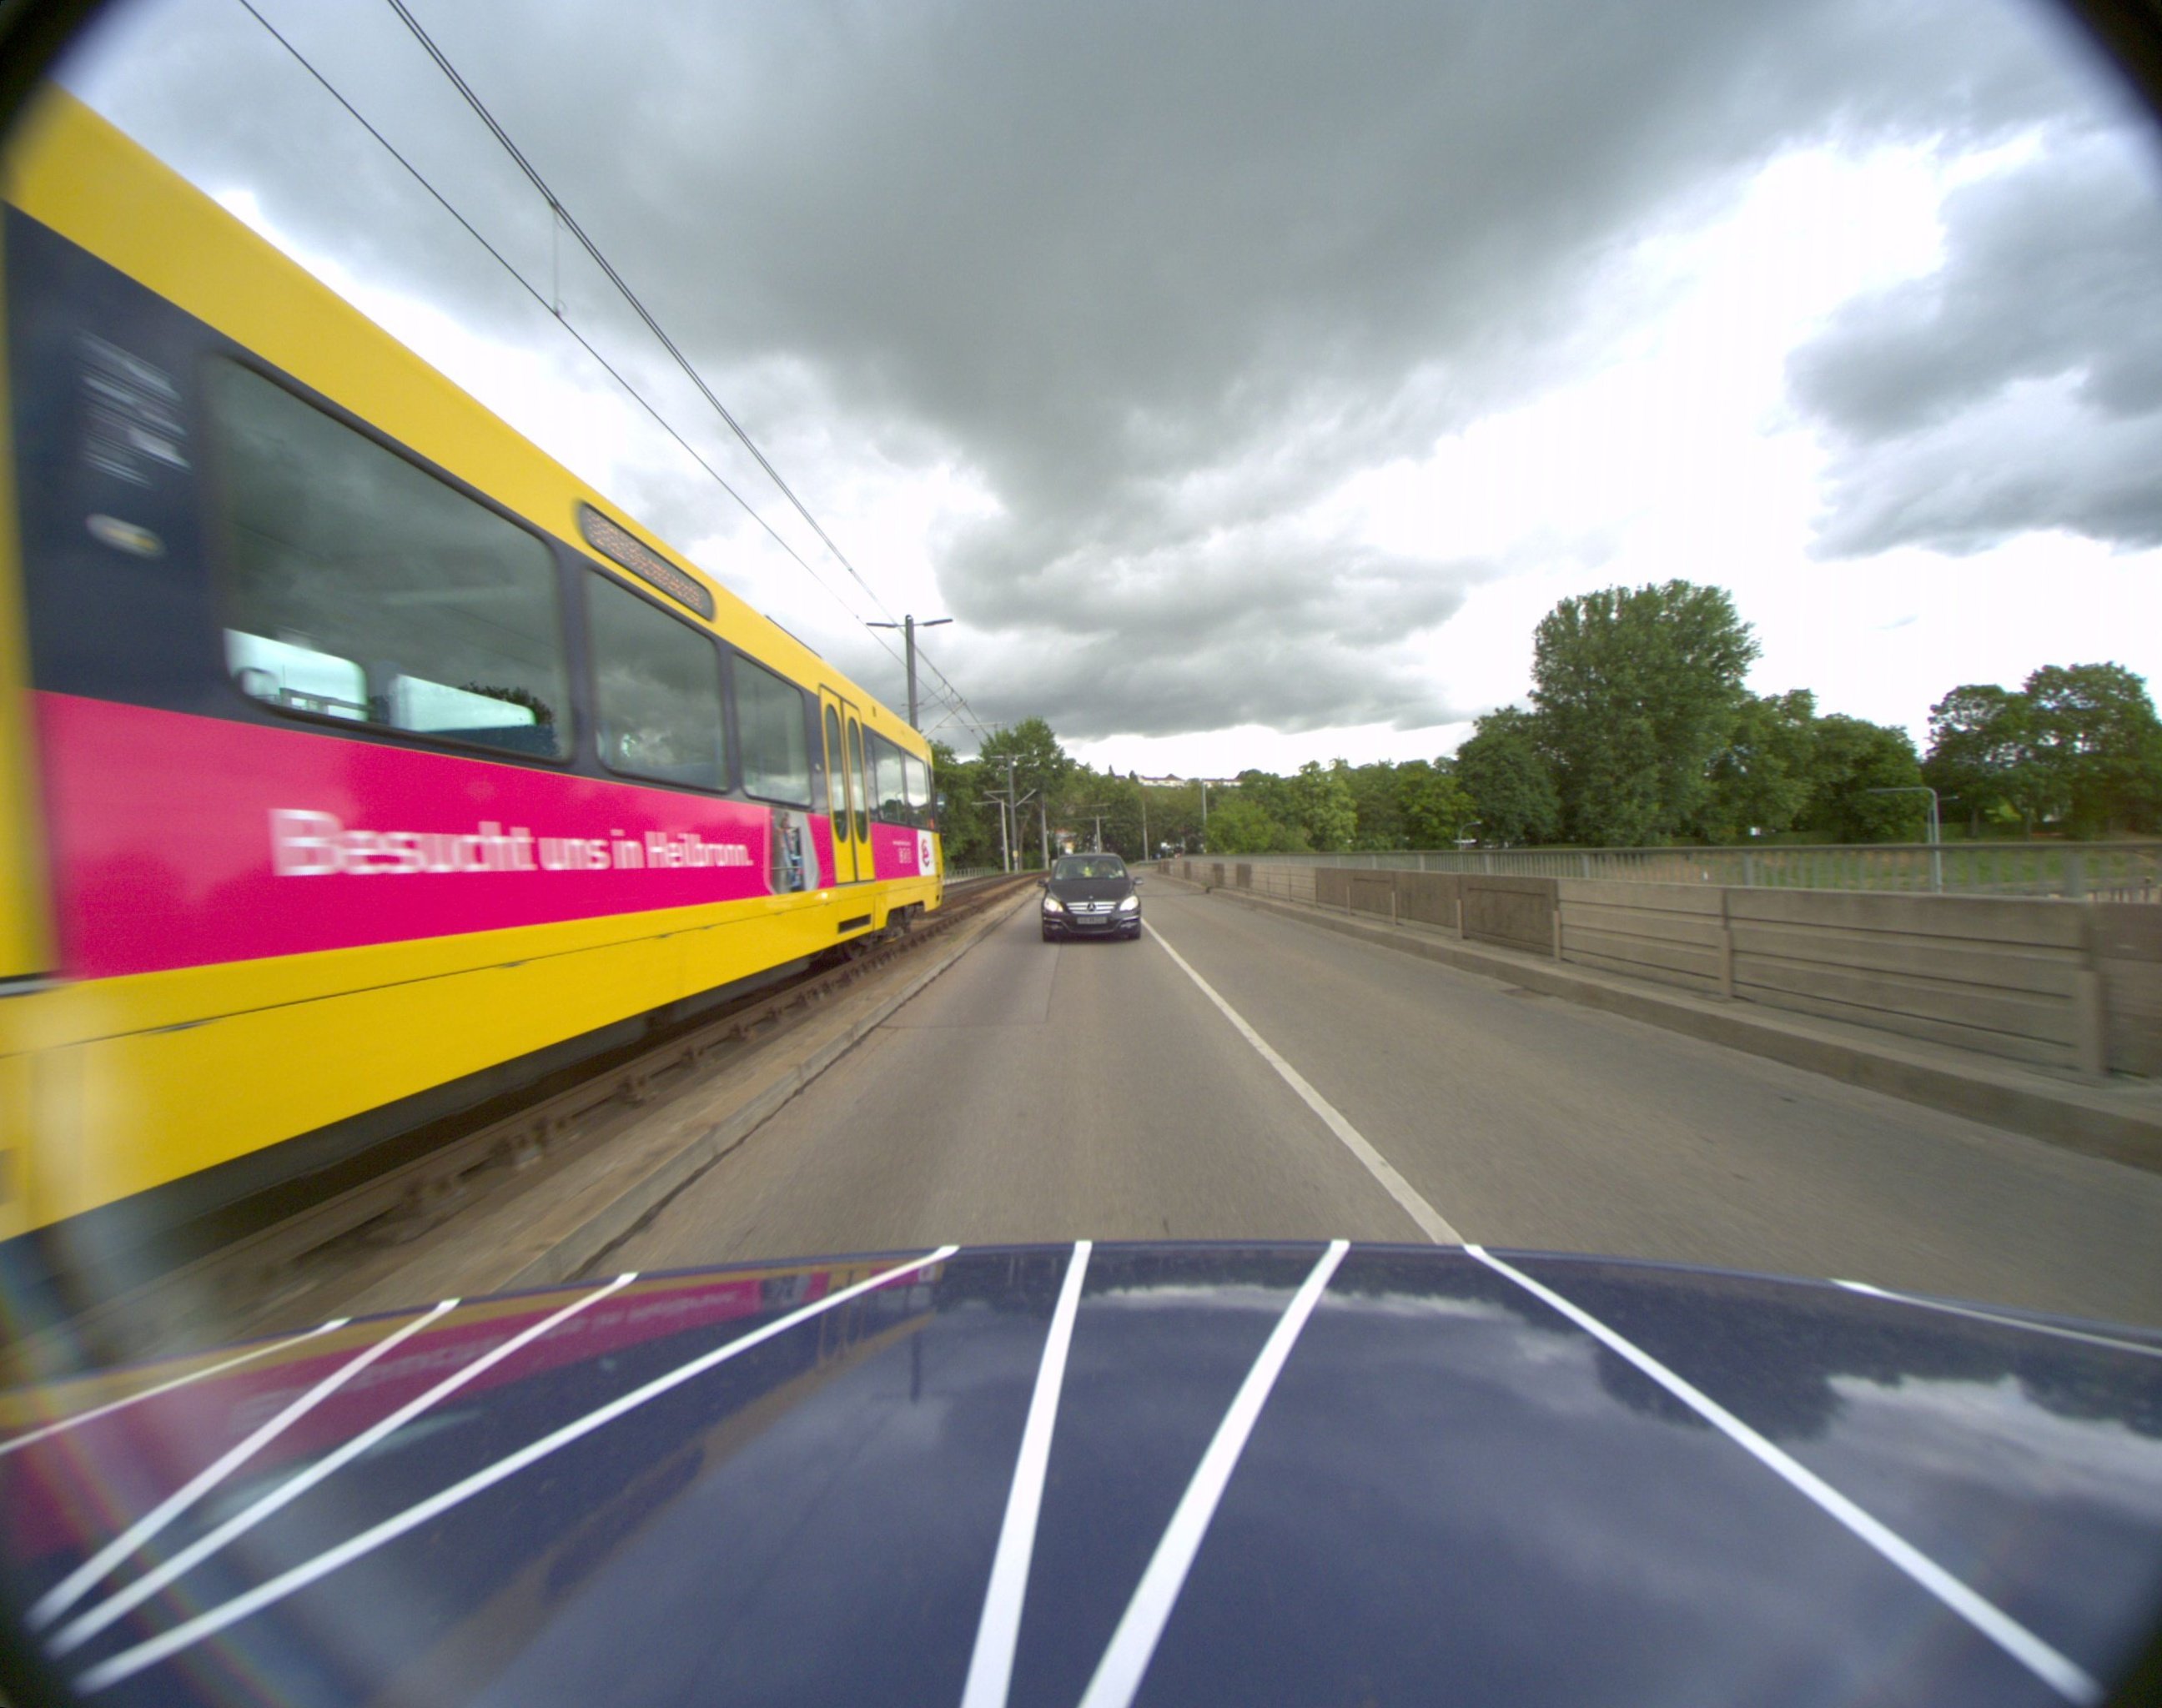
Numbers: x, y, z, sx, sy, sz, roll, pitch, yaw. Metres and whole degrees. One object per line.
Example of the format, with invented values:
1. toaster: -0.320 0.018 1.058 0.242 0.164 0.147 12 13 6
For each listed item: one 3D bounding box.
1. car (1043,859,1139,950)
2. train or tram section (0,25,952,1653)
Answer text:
1. car: 0.180 0.931 16.086 1.711 1.573 4.442 -2 0 0
2. train or tram section: -3.768 -0.030 4.266 2.890 3.489 18.665 -1 0 0
